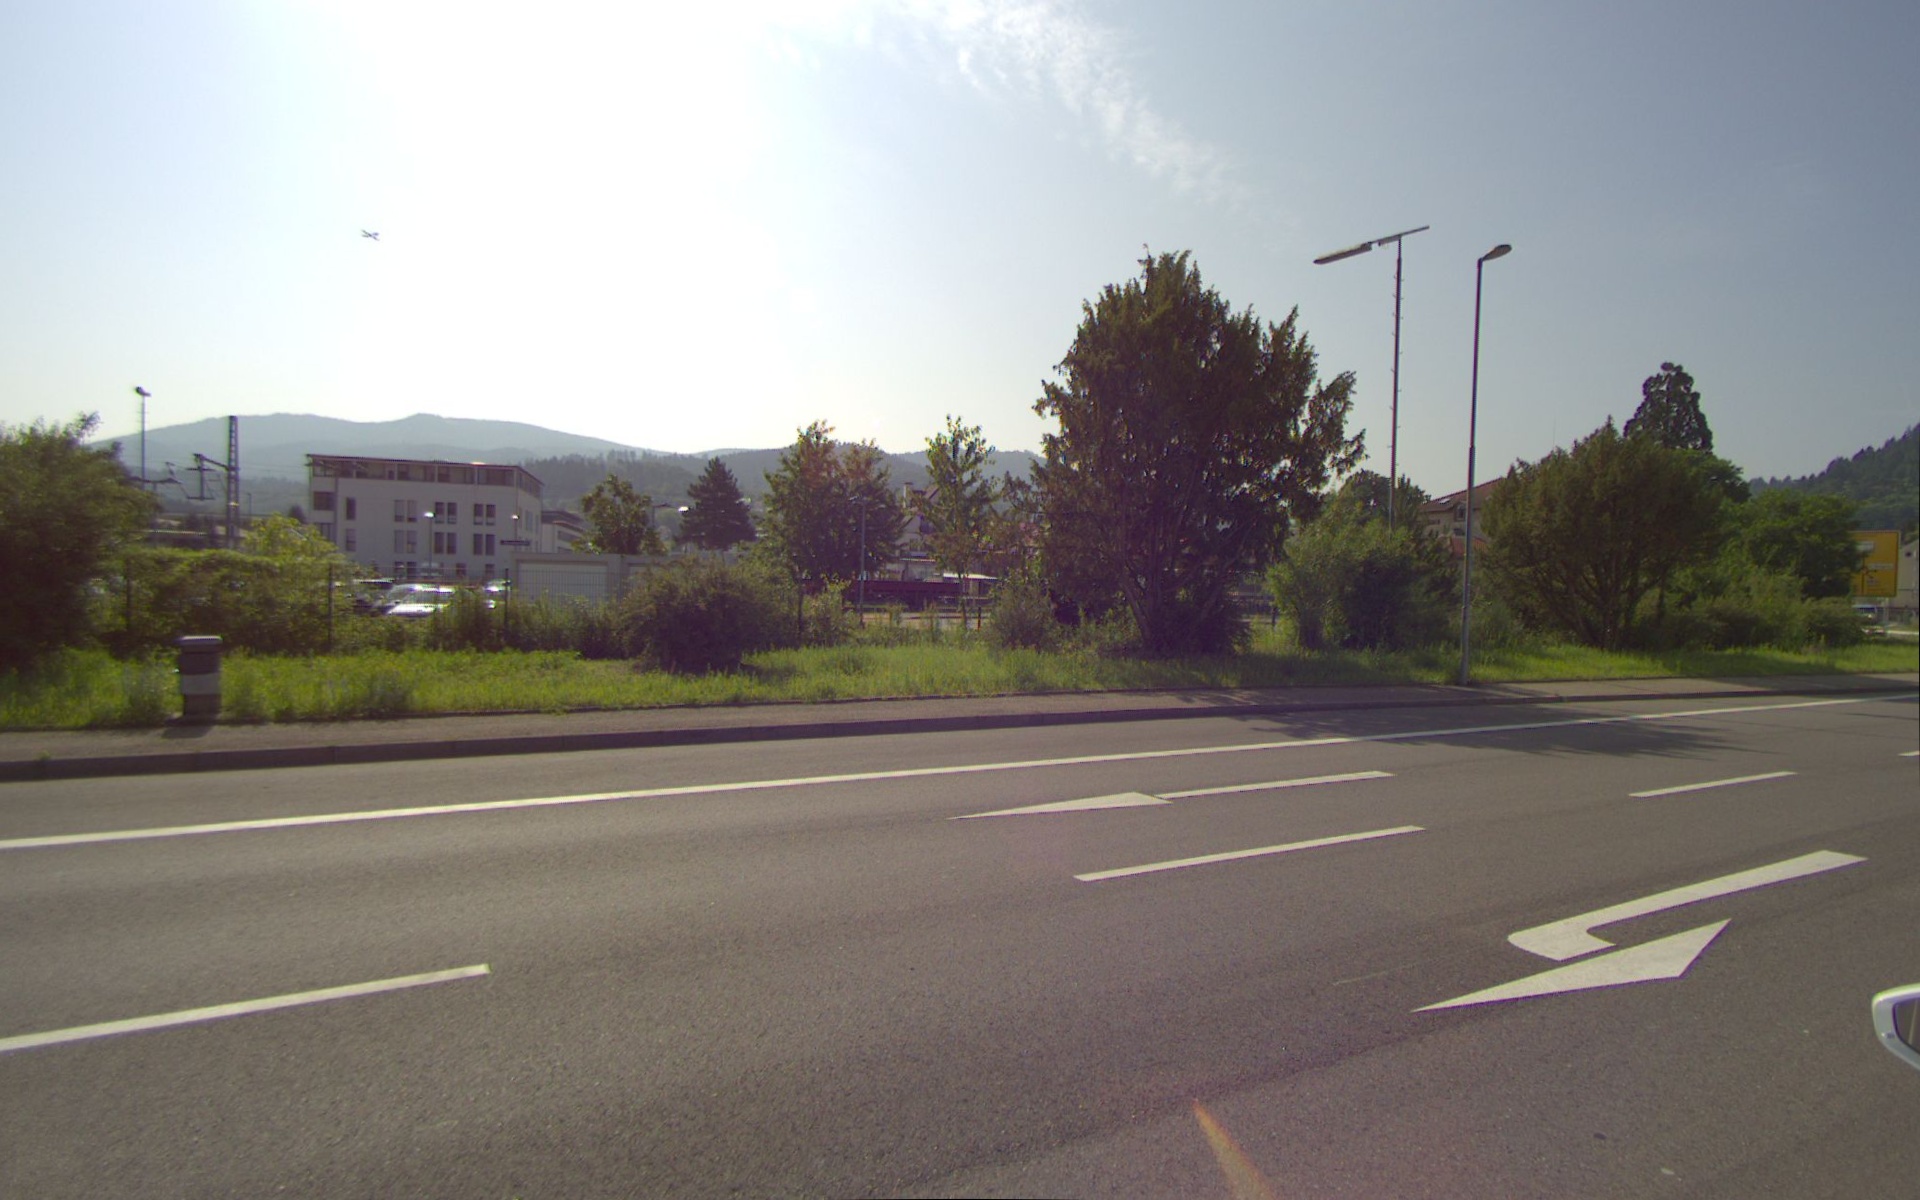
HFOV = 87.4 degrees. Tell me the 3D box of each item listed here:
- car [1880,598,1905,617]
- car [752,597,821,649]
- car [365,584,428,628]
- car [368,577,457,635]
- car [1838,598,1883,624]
[{"bbox_3d":[103.404,0.785,111.418,1.788,2.041,3.982,1,1,39],"label":"car"},{"bbox_3d":[-5.779,0.757,33.905,1.851,1.627,3.998,1,0,-4],"label":"car"},{"bbox_3d":[-19.726,0.216,35.111,1.678,1.448,3.834,1,0,-33],"label":"car"},{"bbox_3d":[-16.036,0.176,29.344,1.979,1.571,3.963,1,0,-33],"label":"car"},{"bbox_3d":[82.102,0.958,91.580,4.551,2.106,1.796,-3,4,-31],"label":"car"}]
